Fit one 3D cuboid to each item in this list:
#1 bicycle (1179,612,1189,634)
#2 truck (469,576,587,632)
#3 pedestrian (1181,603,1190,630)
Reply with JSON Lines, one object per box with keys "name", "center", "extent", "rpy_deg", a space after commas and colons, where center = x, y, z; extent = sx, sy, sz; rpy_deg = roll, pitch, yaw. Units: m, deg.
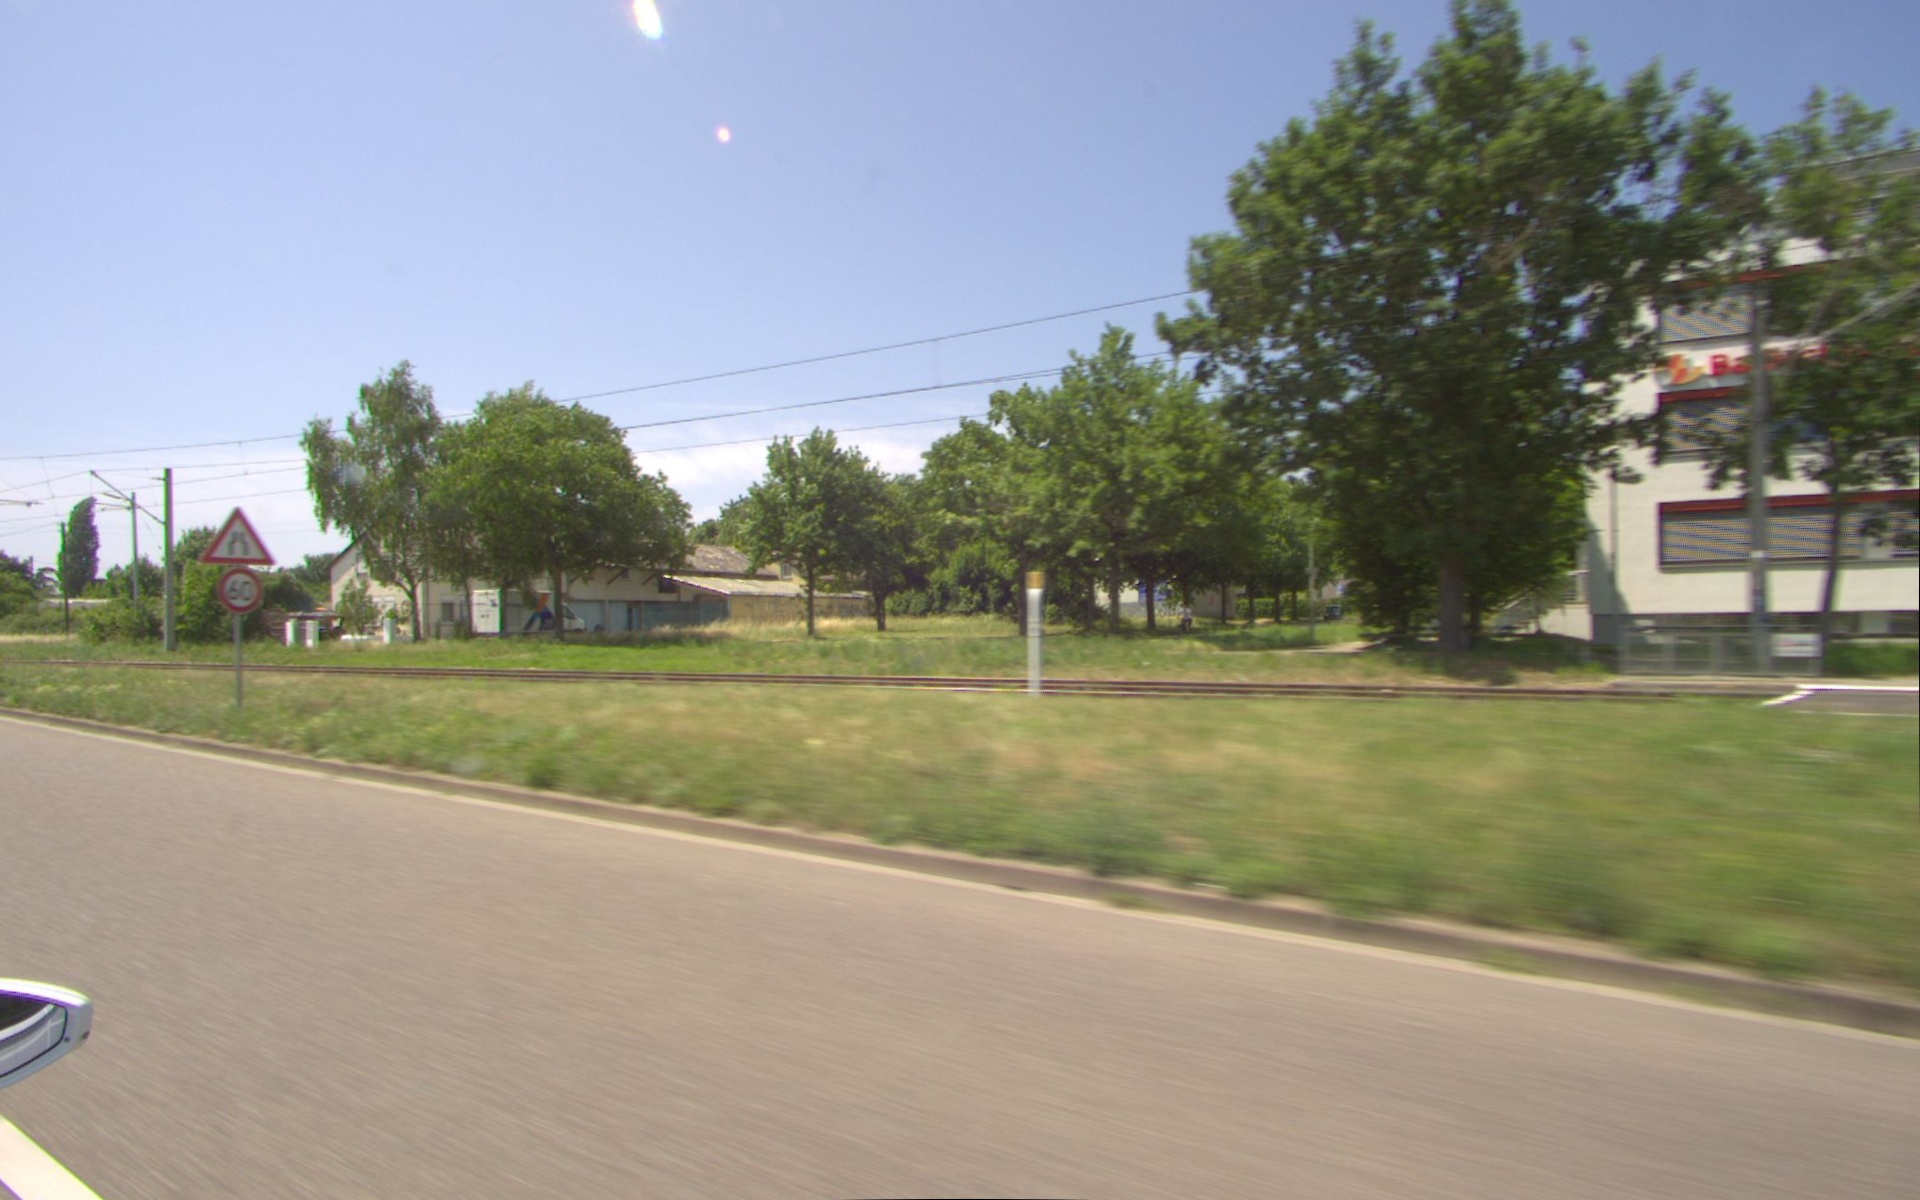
{"name": "bicycle", "center": [12.152, 1.246, 54.302], "extent": [0.423, 1.134, 1.579], "rpy_deg": [0, -1, 16]}
{"name": "truck", "center": [-23.408, 0.191, 54.517], "extent": [2.282, 2.881, 5.840], "rpy_deg": [-1, 0, 24]}
{"name": "pedestrian", "center": [12.222, 0.885, 54.279], "extent": [0.450, 1.422, 0.583], "rpy_deg": [-1, 0, 15]}
